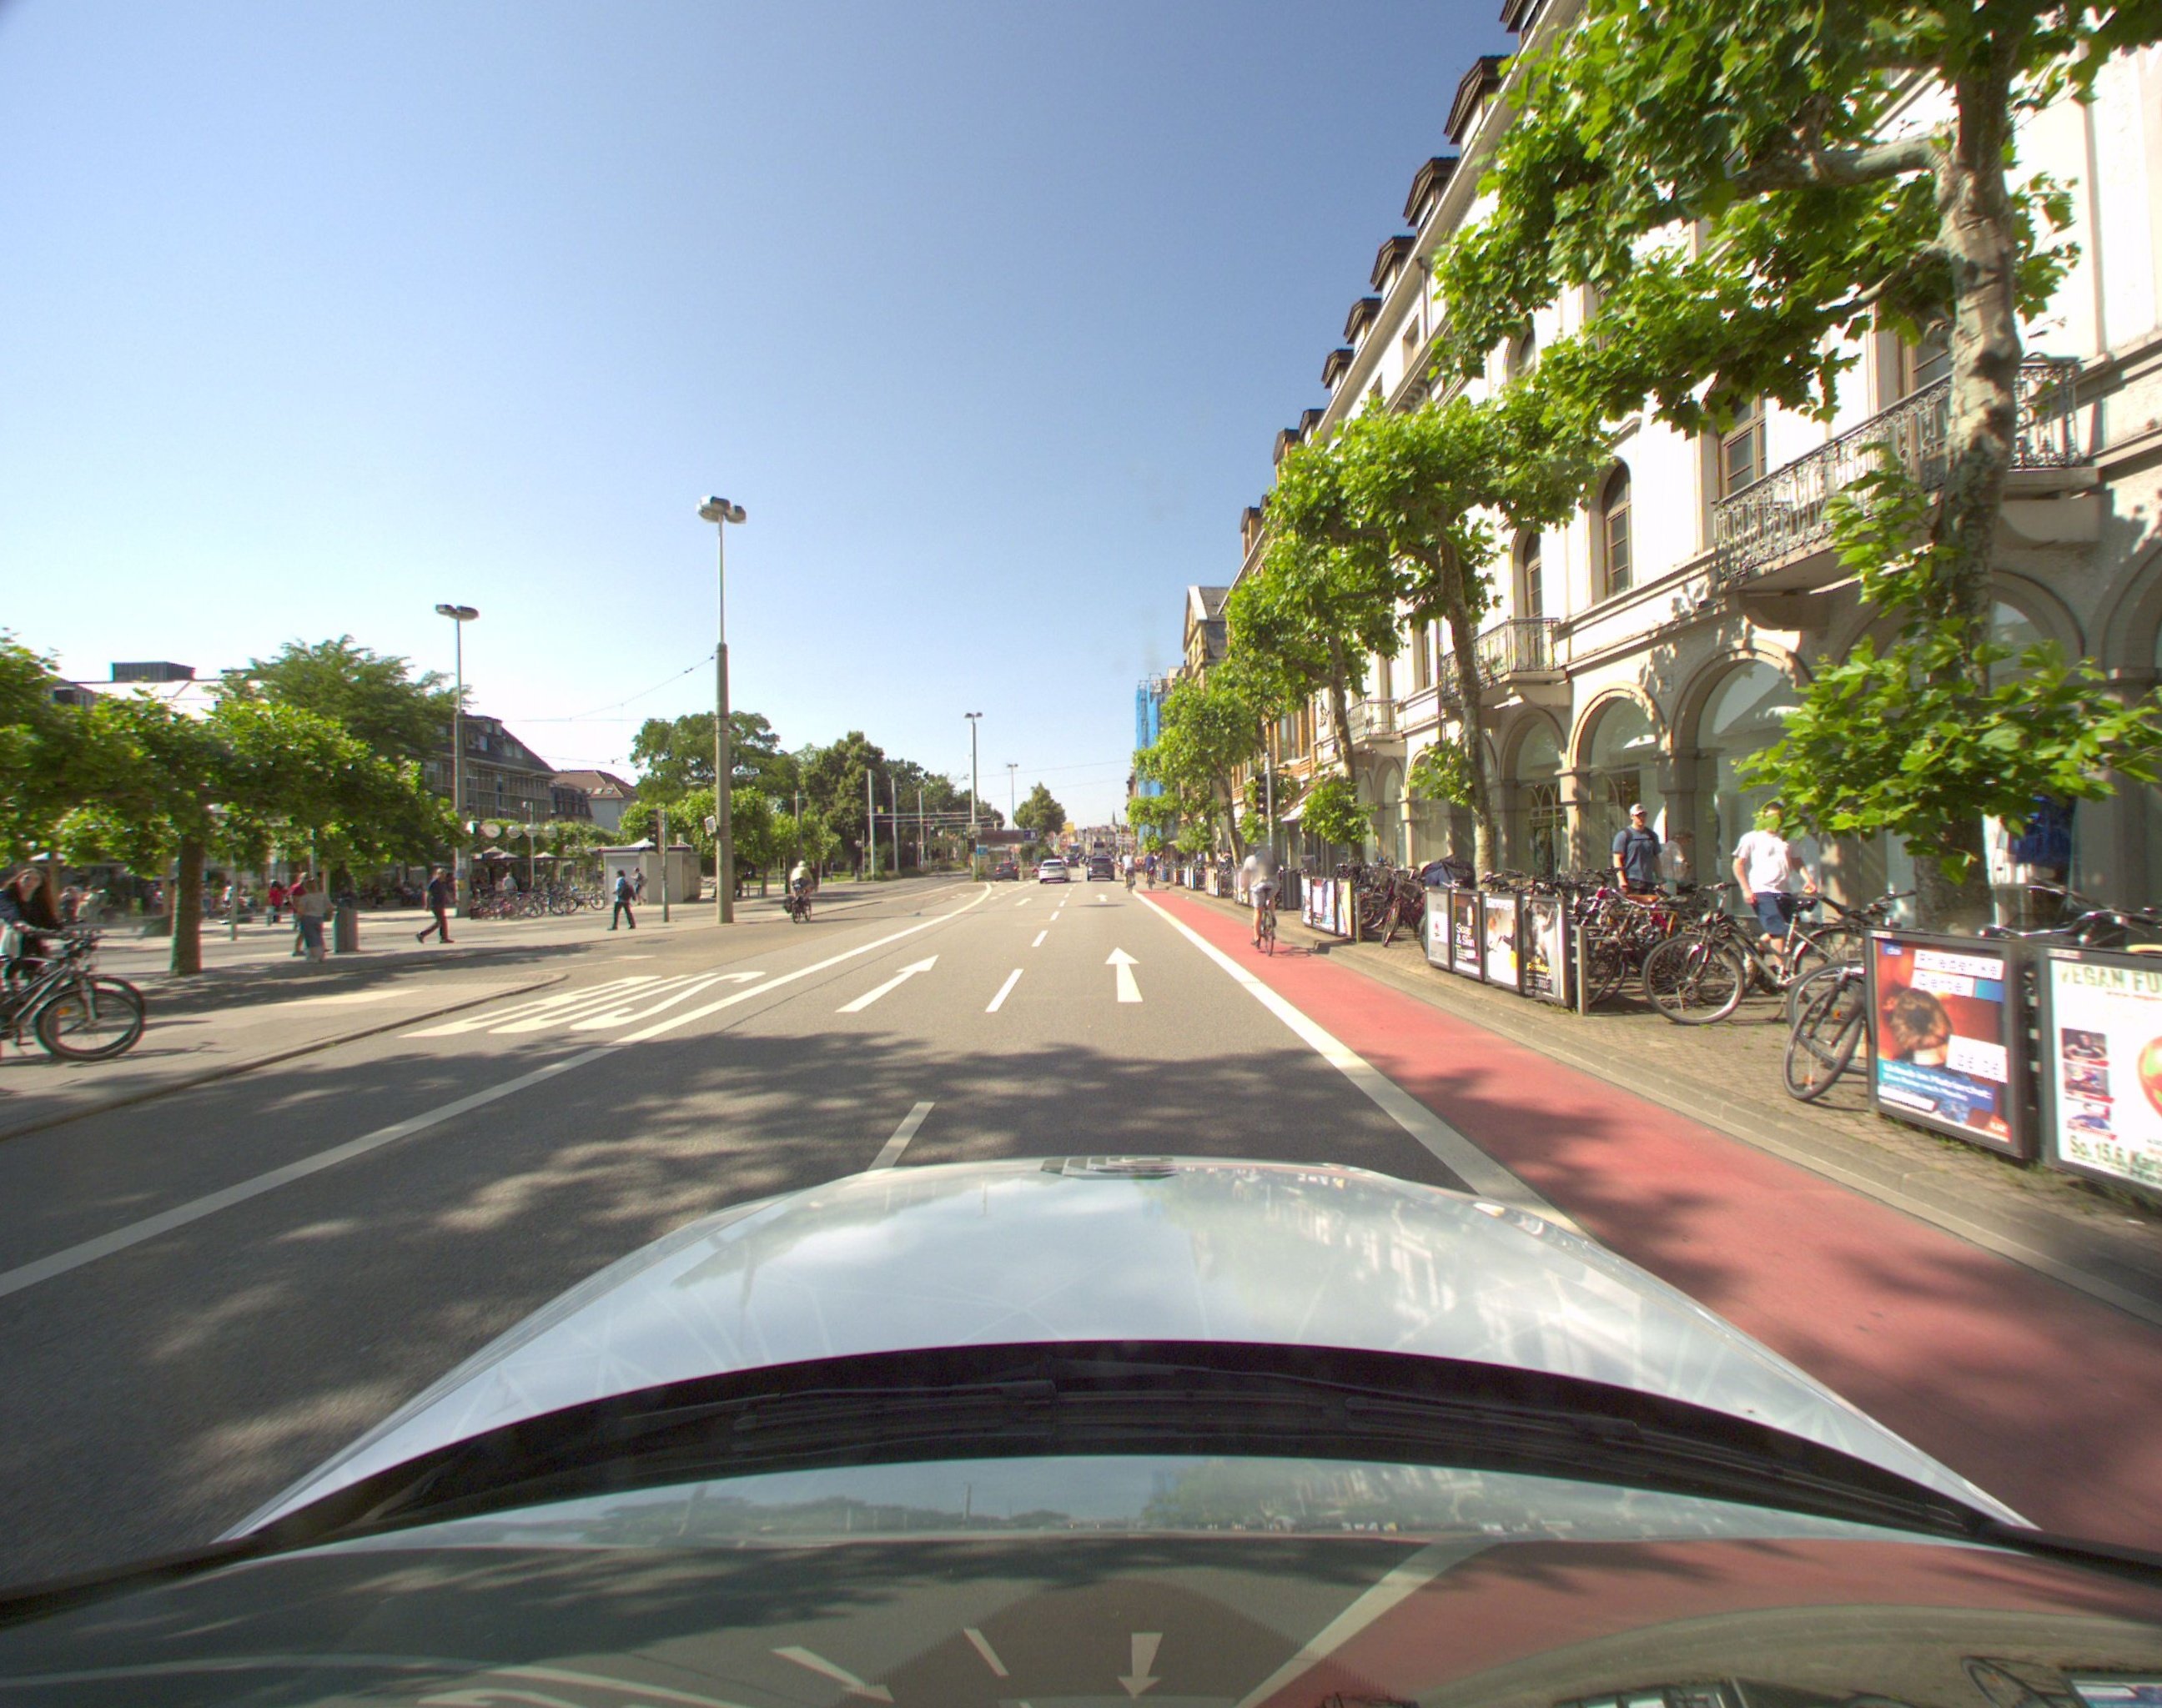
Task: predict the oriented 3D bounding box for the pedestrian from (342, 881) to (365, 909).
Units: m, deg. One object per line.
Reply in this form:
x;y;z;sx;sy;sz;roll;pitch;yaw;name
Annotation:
-39.436;2.214;44.129;0.619;1.465;0.683;-2;-1;13;pedestrian

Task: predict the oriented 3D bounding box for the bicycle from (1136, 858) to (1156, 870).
5.852;0.876;73.086;1.748;1.018;0.482;-1;-1;-2;bicycle

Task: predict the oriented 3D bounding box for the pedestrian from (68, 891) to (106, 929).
-41.039;2.307;33.624;0.622;1.465;0.679;-4;0;-7;pedestrian

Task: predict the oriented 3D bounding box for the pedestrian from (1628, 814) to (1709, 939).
8.215;0.303;11.410;0.654;1.696;0.676;0;-1;2;pedestrian

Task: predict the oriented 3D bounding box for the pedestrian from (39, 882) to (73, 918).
-43.777;1.946;34.794;0.583;1.465;0.622;-4;0;-12;pedestrian

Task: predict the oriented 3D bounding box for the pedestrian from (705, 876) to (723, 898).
-20.724;1.848;46.014;0.674;1.171;0.751;-4;0;-6;pedestrian

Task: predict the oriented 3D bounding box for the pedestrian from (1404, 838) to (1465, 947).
5.125;0.545;11.836;0.603;1.538;0.666;0;-1;-1;pedestrian

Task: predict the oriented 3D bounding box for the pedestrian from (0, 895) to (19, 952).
-27.185;1.751;20.289;0.684;1.418;0.618;-4;0;-38;pedestrian

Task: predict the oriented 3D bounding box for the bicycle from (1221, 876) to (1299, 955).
2.748;0.913;12.734;0.732;1.093;2.129;0;0;-1;bicycle

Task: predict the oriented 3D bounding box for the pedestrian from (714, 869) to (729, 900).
-19.227;1.608;43.509;0.577;1.609;0.598;-4;0;-29;pedestrian

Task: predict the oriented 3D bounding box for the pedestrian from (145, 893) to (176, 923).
-40.291;2.363;35.655;0.617;1.263;0.583;-4;0;9;pedestrian

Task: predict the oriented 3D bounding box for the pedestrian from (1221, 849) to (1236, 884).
7.749;0.651;42.817;0.665;1.781;0.986;-2;-1;4;pedestrian

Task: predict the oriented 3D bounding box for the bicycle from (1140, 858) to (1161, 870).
6.039;0.899;71.136;1.748;1.018;0.482;-1;-1;-2;bicycle

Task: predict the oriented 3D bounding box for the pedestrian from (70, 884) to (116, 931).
-32.461;1.758;26.760;0.675;1.465;0.626;-4;0;6;pedestrian

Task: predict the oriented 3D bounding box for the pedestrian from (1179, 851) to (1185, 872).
7.863;0.581;63.423;0.379;1.683;0.477;-3;-1;2;pedestrian

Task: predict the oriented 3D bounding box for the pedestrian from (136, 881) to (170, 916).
-41.499;1.971;36.424;0.620;1.465;0.681;-4;0;5;pedestrian

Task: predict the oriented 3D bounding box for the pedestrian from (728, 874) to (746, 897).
-19.319;1.754;45.732;0.674;1.246;0.751;-4;0;-6;pedestrian

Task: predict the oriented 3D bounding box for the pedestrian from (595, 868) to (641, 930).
-12.850;1.246;22.632;0.892;1.658;0.678;-2;-1;-9;pedestrian

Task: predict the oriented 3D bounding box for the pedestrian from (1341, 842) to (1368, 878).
9.676;0.212;28.795;0.719;1.252;0.595;0;-1;44;pedestrian

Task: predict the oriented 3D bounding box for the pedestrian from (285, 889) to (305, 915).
-40.275;2.470;41.735;0.513;1.263;0.455;-4;0;16;pedestrian

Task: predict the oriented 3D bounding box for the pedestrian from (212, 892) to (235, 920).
-41.068;2.472;38.999;0.514;1.263;0.454;-4;0;5;pedestrian

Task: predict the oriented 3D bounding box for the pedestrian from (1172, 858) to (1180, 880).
7.386;1.158;63.115;0.496;1.683;0.537;-3;-1;3;pedestrian

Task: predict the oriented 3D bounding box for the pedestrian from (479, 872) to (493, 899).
-38.544;2.028;52.752;0.546;1.748;0.627;-3;0;-22;pedestrian

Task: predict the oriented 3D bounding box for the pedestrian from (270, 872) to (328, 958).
-16.608;1.287;17.301;0.617;1.745;0.685;-4;0;34;pedestrian

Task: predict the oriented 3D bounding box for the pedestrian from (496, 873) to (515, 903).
-29.462;1.752;41.683;0.684;1.465;0.618;-4;0;-36;pedestrian

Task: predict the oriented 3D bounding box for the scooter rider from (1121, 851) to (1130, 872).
3.630;0.632;67.025;0.686;1.729;0.778;0;-1;0;scooter rider

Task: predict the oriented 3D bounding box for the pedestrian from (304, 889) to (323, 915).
-39.917;2.491;42.364;0.513;1.263;0.455;-4;0;16;pedestrian

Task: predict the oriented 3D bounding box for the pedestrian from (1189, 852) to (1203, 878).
7.444;0.693;52.730;0.601;1.626;0.640;-4;0;-18;pedestrian

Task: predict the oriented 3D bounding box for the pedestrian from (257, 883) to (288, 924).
-30.494;1.848;30.715;0.684;1.465;0.618;-4;0;-38;pedestrian

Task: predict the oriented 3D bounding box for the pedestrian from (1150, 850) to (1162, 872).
5.728;0.559;62.414;0.657;1.683;0.650;-1;-2;-15;pedestrian

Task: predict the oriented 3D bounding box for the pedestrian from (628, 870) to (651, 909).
-20.398;1.644;37.629;0.753;1.728;0.832;-4;0;-23;pedestrian

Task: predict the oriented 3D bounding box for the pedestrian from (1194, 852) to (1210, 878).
7.729;0.706;52.091;0.697;1.626;0.698;-2;-1;-18;pedestrian

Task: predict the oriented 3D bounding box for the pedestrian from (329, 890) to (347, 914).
-39.643;2.562;43.465;0.513;1.263;0.455;-4;0;16;pedestrian

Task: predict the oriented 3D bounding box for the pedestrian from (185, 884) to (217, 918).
-40.875;2.181;37.841;0.620;1.465;0.681;-4;0;5;pedestrian

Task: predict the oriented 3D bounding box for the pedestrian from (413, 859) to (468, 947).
-15.432;1.159;19.636;0.900;2.007;0.672;-3;0;-44;pedestrian

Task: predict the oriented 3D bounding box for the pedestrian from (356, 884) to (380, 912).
-39.110;2.419;44.679;0.620;1.465;0.681;-3;-1;5;pedestrian

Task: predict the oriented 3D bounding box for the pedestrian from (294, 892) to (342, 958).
-14.806;1.363;15.800;0.571;1.234;0.557;-2;-1;34;pedestrian

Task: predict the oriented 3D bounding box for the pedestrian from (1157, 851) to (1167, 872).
7.546;0.709;76.181;0.810;1.848;0.893;-3;-1;8;pedestrian

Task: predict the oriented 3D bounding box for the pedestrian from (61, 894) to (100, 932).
-40.230;2.366;32.764;0.622;1.465;0.679;-4;0;-5;pedestrian

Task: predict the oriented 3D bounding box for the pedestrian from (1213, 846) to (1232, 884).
6.168;0.479;35.548;0.651;1.633;0.730;0;-1;-2;pedestrian

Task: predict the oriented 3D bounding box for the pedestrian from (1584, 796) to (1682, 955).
6.870;0.259;10.175;0.699;1.902;0.776;0;-1;-2;pedestrian

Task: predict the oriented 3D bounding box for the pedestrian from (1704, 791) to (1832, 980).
6.847;0.302;8.152;0.632;1.793;0.776;0;-1;-2;pedestrian

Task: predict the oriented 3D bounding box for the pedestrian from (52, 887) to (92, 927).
-39.490;2.080;31.886;0.621;1.465;0.680;-4;0;-3;pedestrian

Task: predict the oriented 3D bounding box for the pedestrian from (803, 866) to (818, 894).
-16.251;1.535;48.931;0.521;1.609;0.628;-4;0;9;pedestrian

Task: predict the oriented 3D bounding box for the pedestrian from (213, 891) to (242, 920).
-39.207;2.375;37.413;0.617;1.263;0.583;-4;0;9;pedestrian

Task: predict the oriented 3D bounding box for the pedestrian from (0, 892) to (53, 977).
-20.188;1.526;15.359;0.621;1.524;0.680;-4;0;0;pedestrian

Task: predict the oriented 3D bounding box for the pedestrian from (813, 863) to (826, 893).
-15.639;1.424;48.691;0.528;1.733;0.582;-4;0;-30;pedestrian
